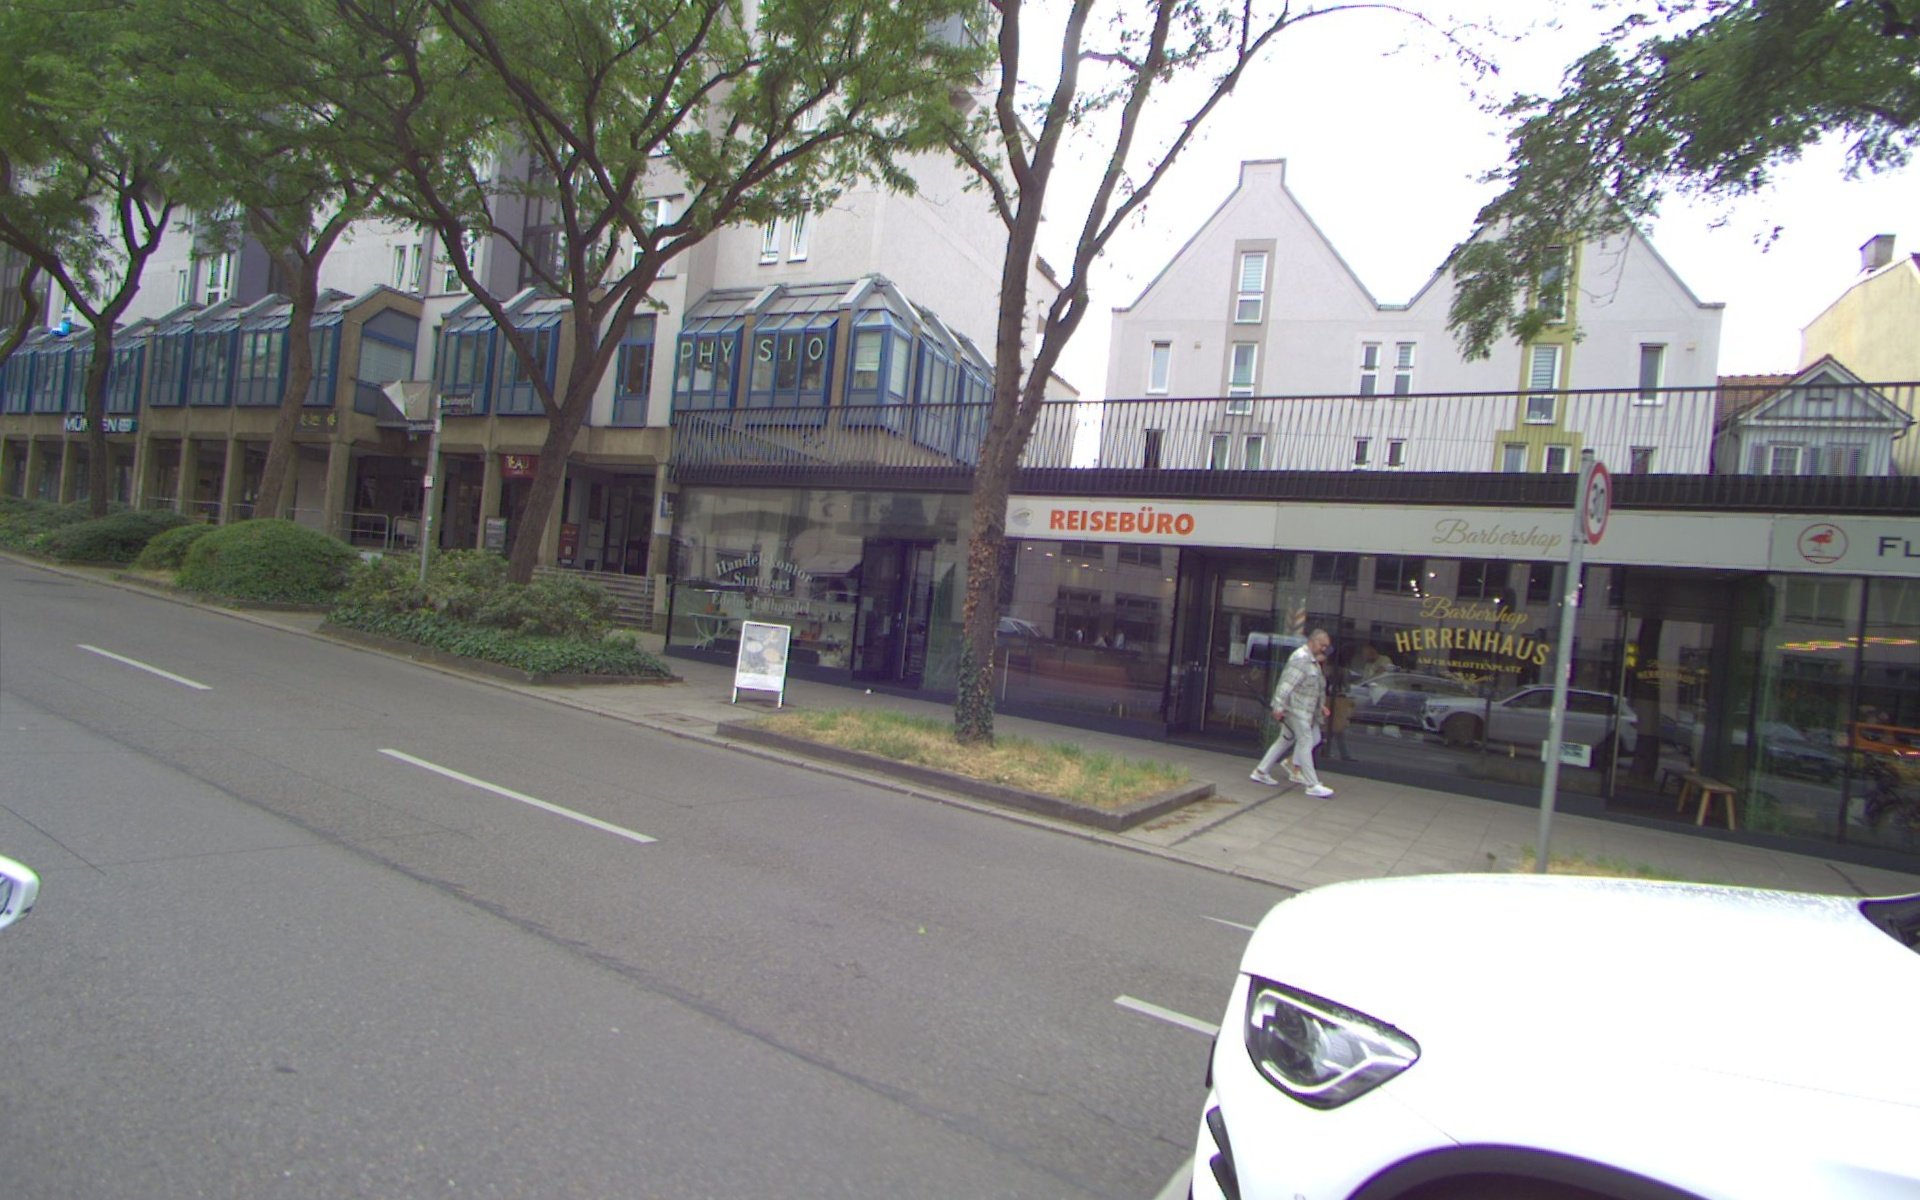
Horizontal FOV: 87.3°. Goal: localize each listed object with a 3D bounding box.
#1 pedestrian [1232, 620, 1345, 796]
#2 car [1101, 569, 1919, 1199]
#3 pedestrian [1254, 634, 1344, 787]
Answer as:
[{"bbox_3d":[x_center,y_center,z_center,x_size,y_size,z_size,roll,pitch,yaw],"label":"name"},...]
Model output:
[{"bbox_3d":[3.653,1.170,11.176,0.924,1.776,0.596,7,2,27],"label":"pedestrian"},{"bbox_3d":[2.564,1.030,1.532,4.262,1.667,1.803,7,1,32],"label":"car"},{"bbox_3d":[3.981,1.266,11.799,0.744,1.649,0.596,7,2,27],"label":"pedestrian"}]
